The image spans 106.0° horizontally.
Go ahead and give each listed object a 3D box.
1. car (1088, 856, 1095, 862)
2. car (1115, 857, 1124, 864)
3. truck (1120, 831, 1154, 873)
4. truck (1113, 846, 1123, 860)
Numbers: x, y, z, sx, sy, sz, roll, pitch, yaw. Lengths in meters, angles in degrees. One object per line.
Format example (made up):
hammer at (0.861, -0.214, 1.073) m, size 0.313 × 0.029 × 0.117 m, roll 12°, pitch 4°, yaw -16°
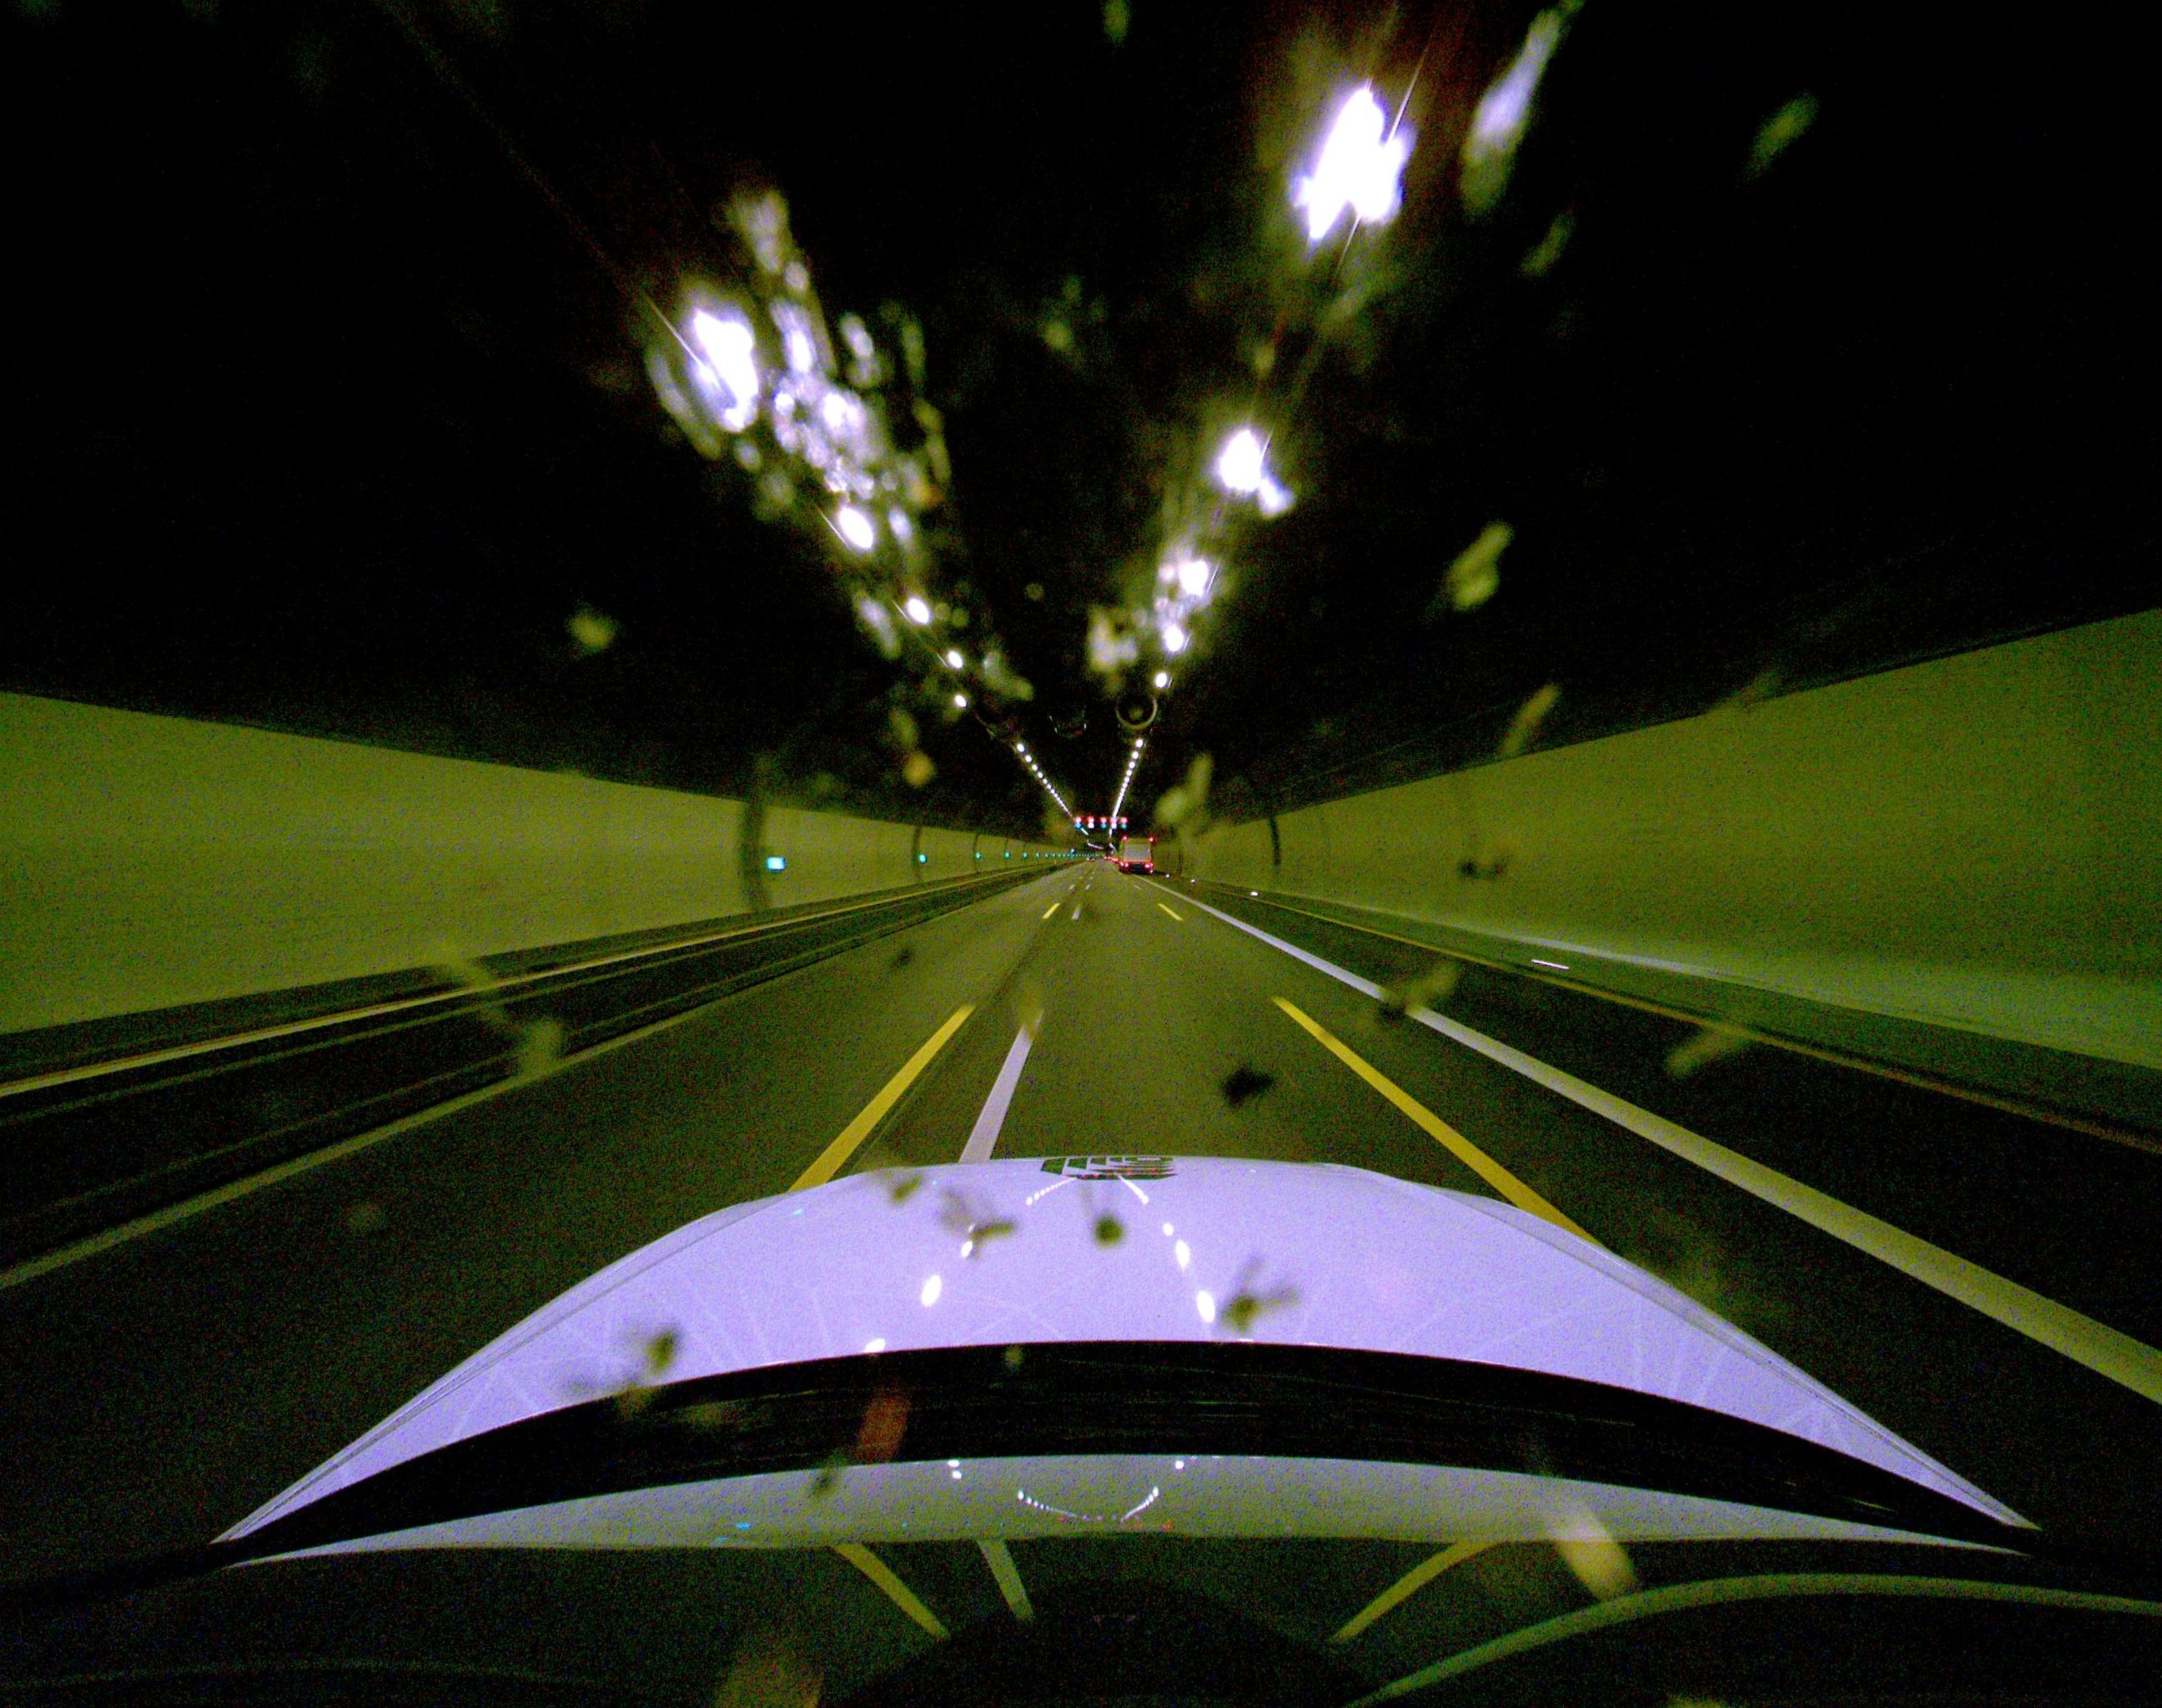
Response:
car at (2.544, 1.258, 198.597) m, size 1.752 × 1.461 × 4.121 m, roll 0°, pitch 0°, yaw 2°
car at (7.982, 1.329, 169.230) m, size 1.732 × 1.461 × 3.964 m, roll 0°, pitch 0°, yaw 3°
truck at (5.405, -0.116, 80.274) m, size 3.080 × 3.918 × 10.372 m, roll 0°, pitch -1°, yaw 2°
truck at (10.918, -0.131, 239.666) m, size 3.054 × 3.918 × 10.375 m, roll 0°, pitch -1°, yaw 3°
